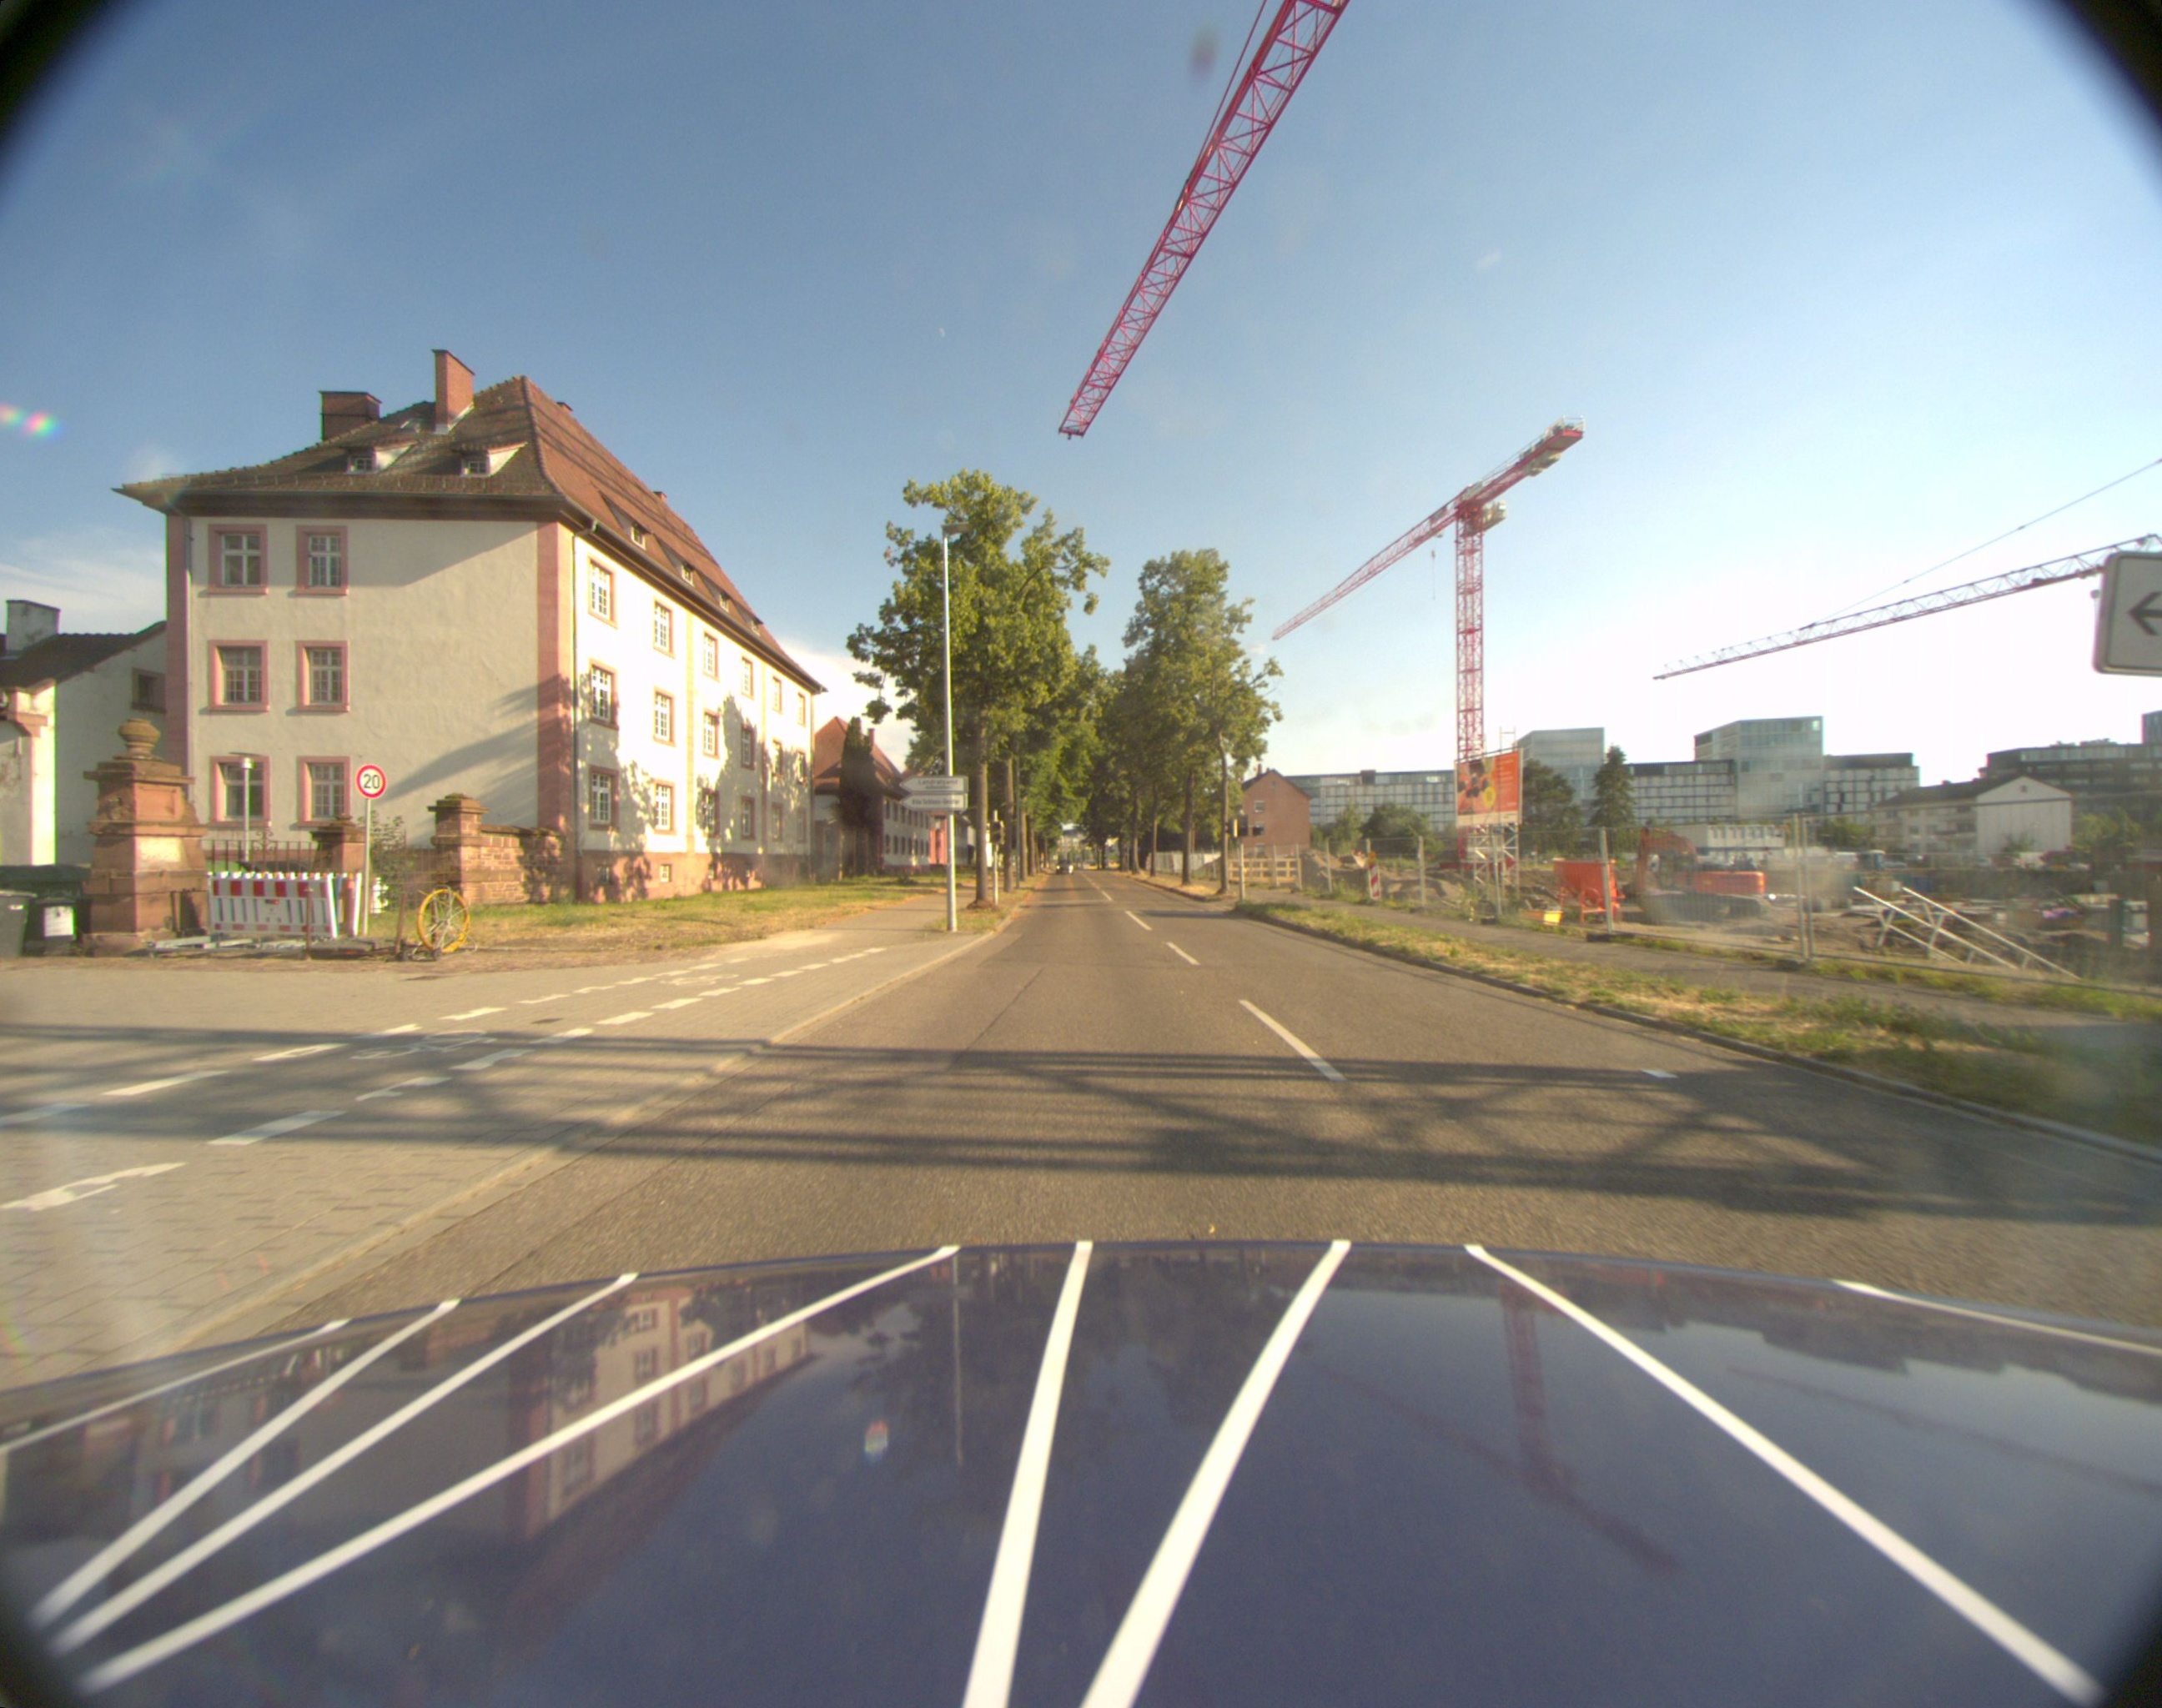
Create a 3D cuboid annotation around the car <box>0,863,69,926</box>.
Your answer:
[{"bbox_3d":[-26.264,1.016,16.959,1.999,1.445,3.998,-2,1,-3],"label":"car"}]

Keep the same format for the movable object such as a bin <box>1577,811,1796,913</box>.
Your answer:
[{"bbox_3d":[34.616,0.279,44.561,4.095,5.035,12.226,-2,1,6],"label":"movable object such as a bin"}]

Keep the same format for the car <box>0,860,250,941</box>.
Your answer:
[{"bbox_3d":[-21.205,0.925,16.569,1.796,1.445,3.998,-2,1,-3],"label":"car"}]

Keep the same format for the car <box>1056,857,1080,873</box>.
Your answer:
[{"bbox_3d":[-1.295,1.023,73.515,1.777,1.492,3.671,-1,0,-8],"label":"car"}]

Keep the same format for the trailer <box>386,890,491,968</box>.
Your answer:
[{"bbox_3d":[-10.057,1.142,11.942,0.483,1.060,1.267,-2,1,1],"label":"trailer"}]

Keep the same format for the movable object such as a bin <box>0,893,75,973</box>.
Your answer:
[{"bbox_3d":[-15.893,1.169,11.158,0.985,1.085,0.939,-2,1,9],"label":"movable object such as a bin"}]
